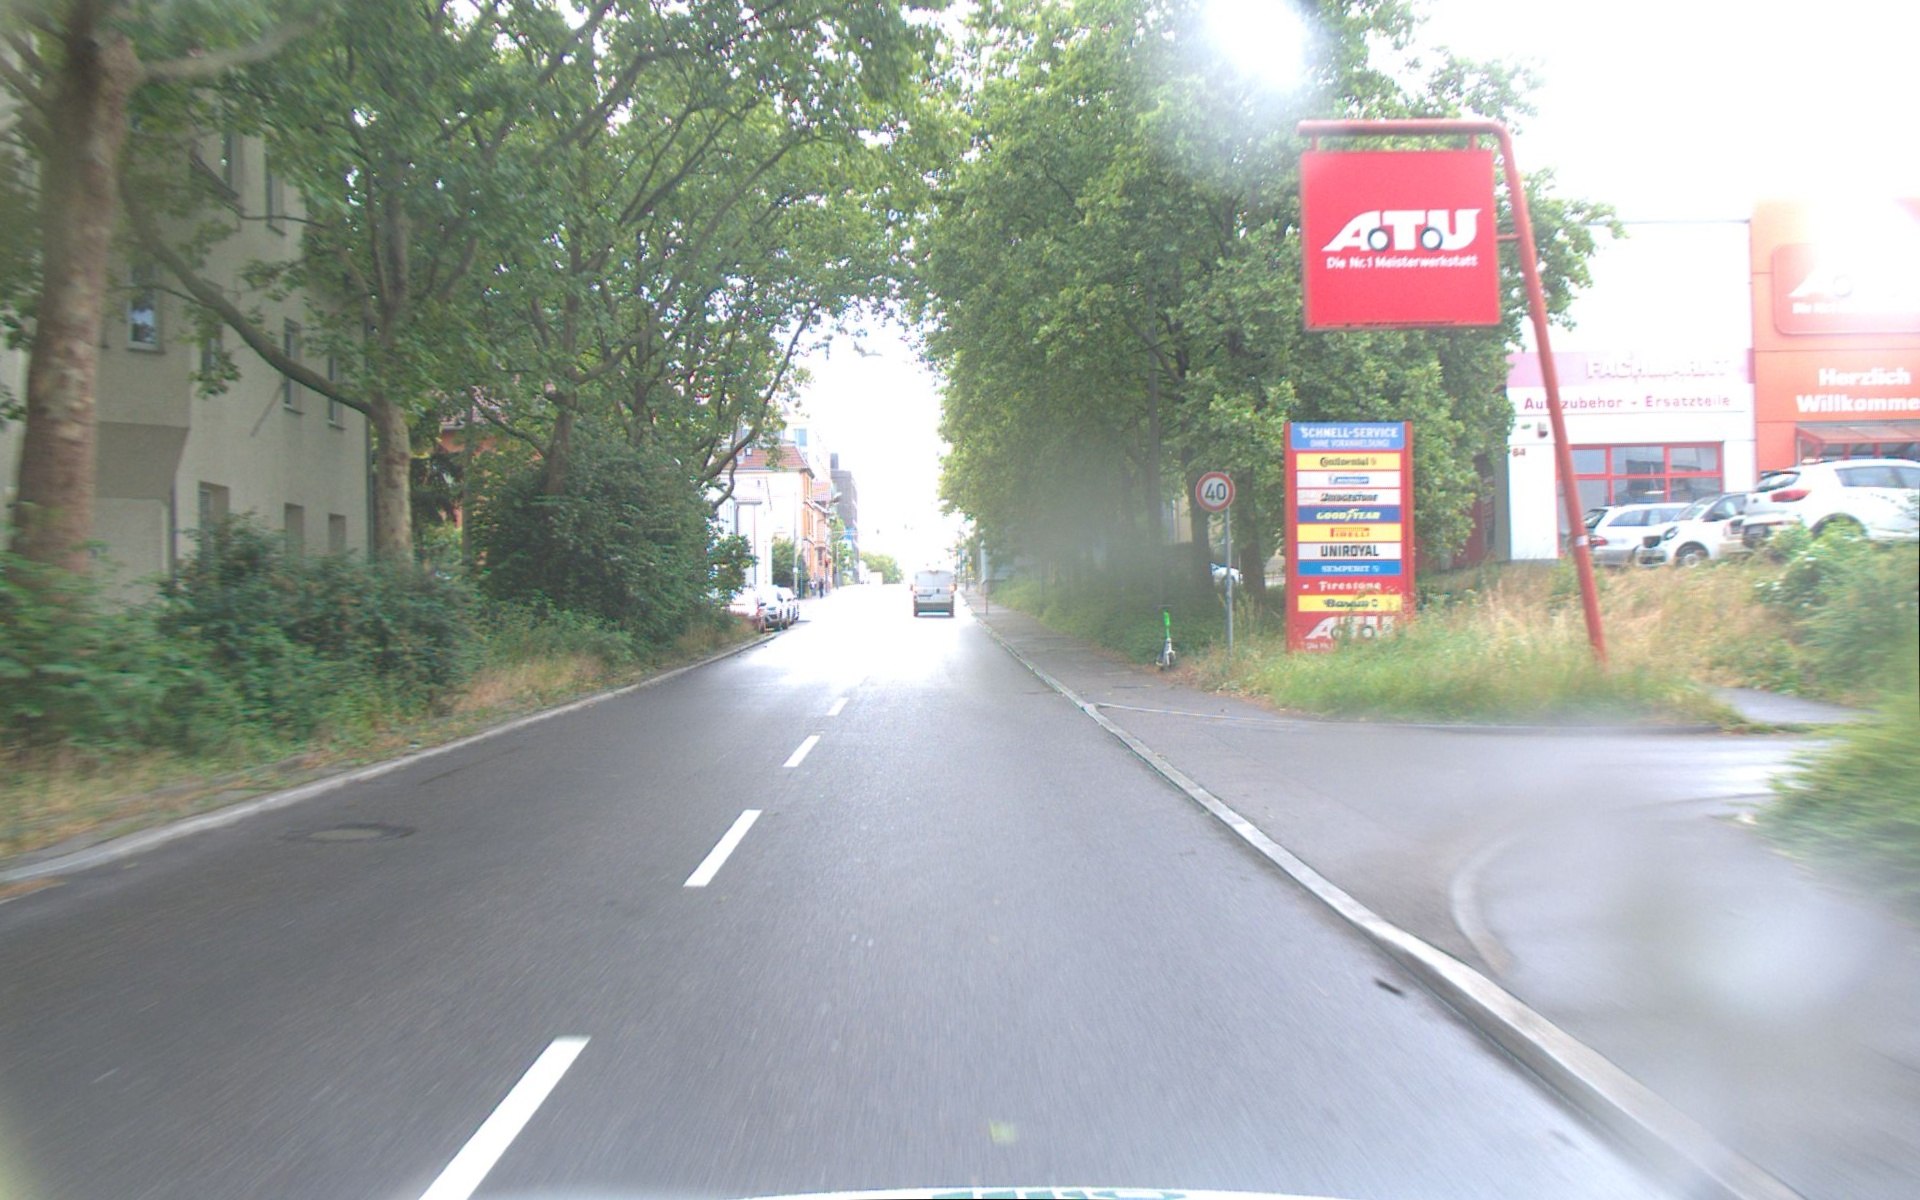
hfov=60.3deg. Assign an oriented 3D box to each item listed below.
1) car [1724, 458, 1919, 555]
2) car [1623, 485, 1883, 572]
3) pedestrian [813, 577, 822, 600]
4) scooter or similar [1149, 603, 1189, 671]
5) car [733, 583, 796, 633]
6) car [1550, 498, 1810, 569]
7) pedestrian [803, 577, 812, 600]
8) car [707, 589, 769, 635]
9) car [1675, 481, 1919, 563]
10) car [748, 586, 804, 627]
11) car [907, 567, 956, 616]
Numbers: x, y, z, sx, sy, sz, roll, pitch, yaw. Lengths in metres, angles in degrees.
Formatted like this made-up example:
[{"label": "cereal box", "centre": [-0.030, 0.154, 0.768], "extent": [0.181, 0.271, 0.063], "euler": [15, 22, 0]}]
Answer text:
[{"label": "car", "centre": [14.440, -1.433, 25.962], "extent": [4.015, 1.400, 1.903], "euler": [0, 0, 1]}, {"label": "car", "centre": [14.928, -1.329, 31.293], "extent": [4.016, 1.492, 1.884], "euler": [-1, 0, 0]}, {"label": "pedestrian", "centre": [-12.529, -1.015, 145.613], "extent": [0.657, 2.049, 0.942], "euler": [0, 0, 3]}, {"label": "scooter or similar", "centre": [3.650, 0.655, 28.973], "extent": [0.417, 1.162, 1.528], "euler": [1, -2, -3]}, {"label": "car", "centre": [-6.824, 0.253, 58.067], "extent": [1.657, 1.568, 4.117], "euler": [-3, 1, -1]}, {"label": "car", "centre": [14.521, -1.328, 33.505], "extent": [4.516, 1.357, 1.800], "euler": [0, 0, -1]}, {"label": "pedestrian", "centre": [-13.428, -1.020, 146.057], "extent": [0.657, 2.049, 0.942], "euler": [0, 0, 3]}, {"label": "car", "centre": [-7.034, 0.360, 52.659], "extent": [1.606, 1.397, 3.757], "euler": [0, 0, -3]}, {"label": "car", "centre": [14.766, -1.338, 28.811], "extent": [3.838, 1.316, 1.833], "euler": [0, 0, 1]}, {"label": "car", "centre": [-7.102, 0.251, 64.166], "extent": [1.708, 1.508, 4.384], "euler": [0, 0, -1]}, {"label": "car", "centre": [-1.389, -0.373, 81.374], "extent": [2.288, 2.270, 3.999], "euler": [-2, -1, 0]}]
